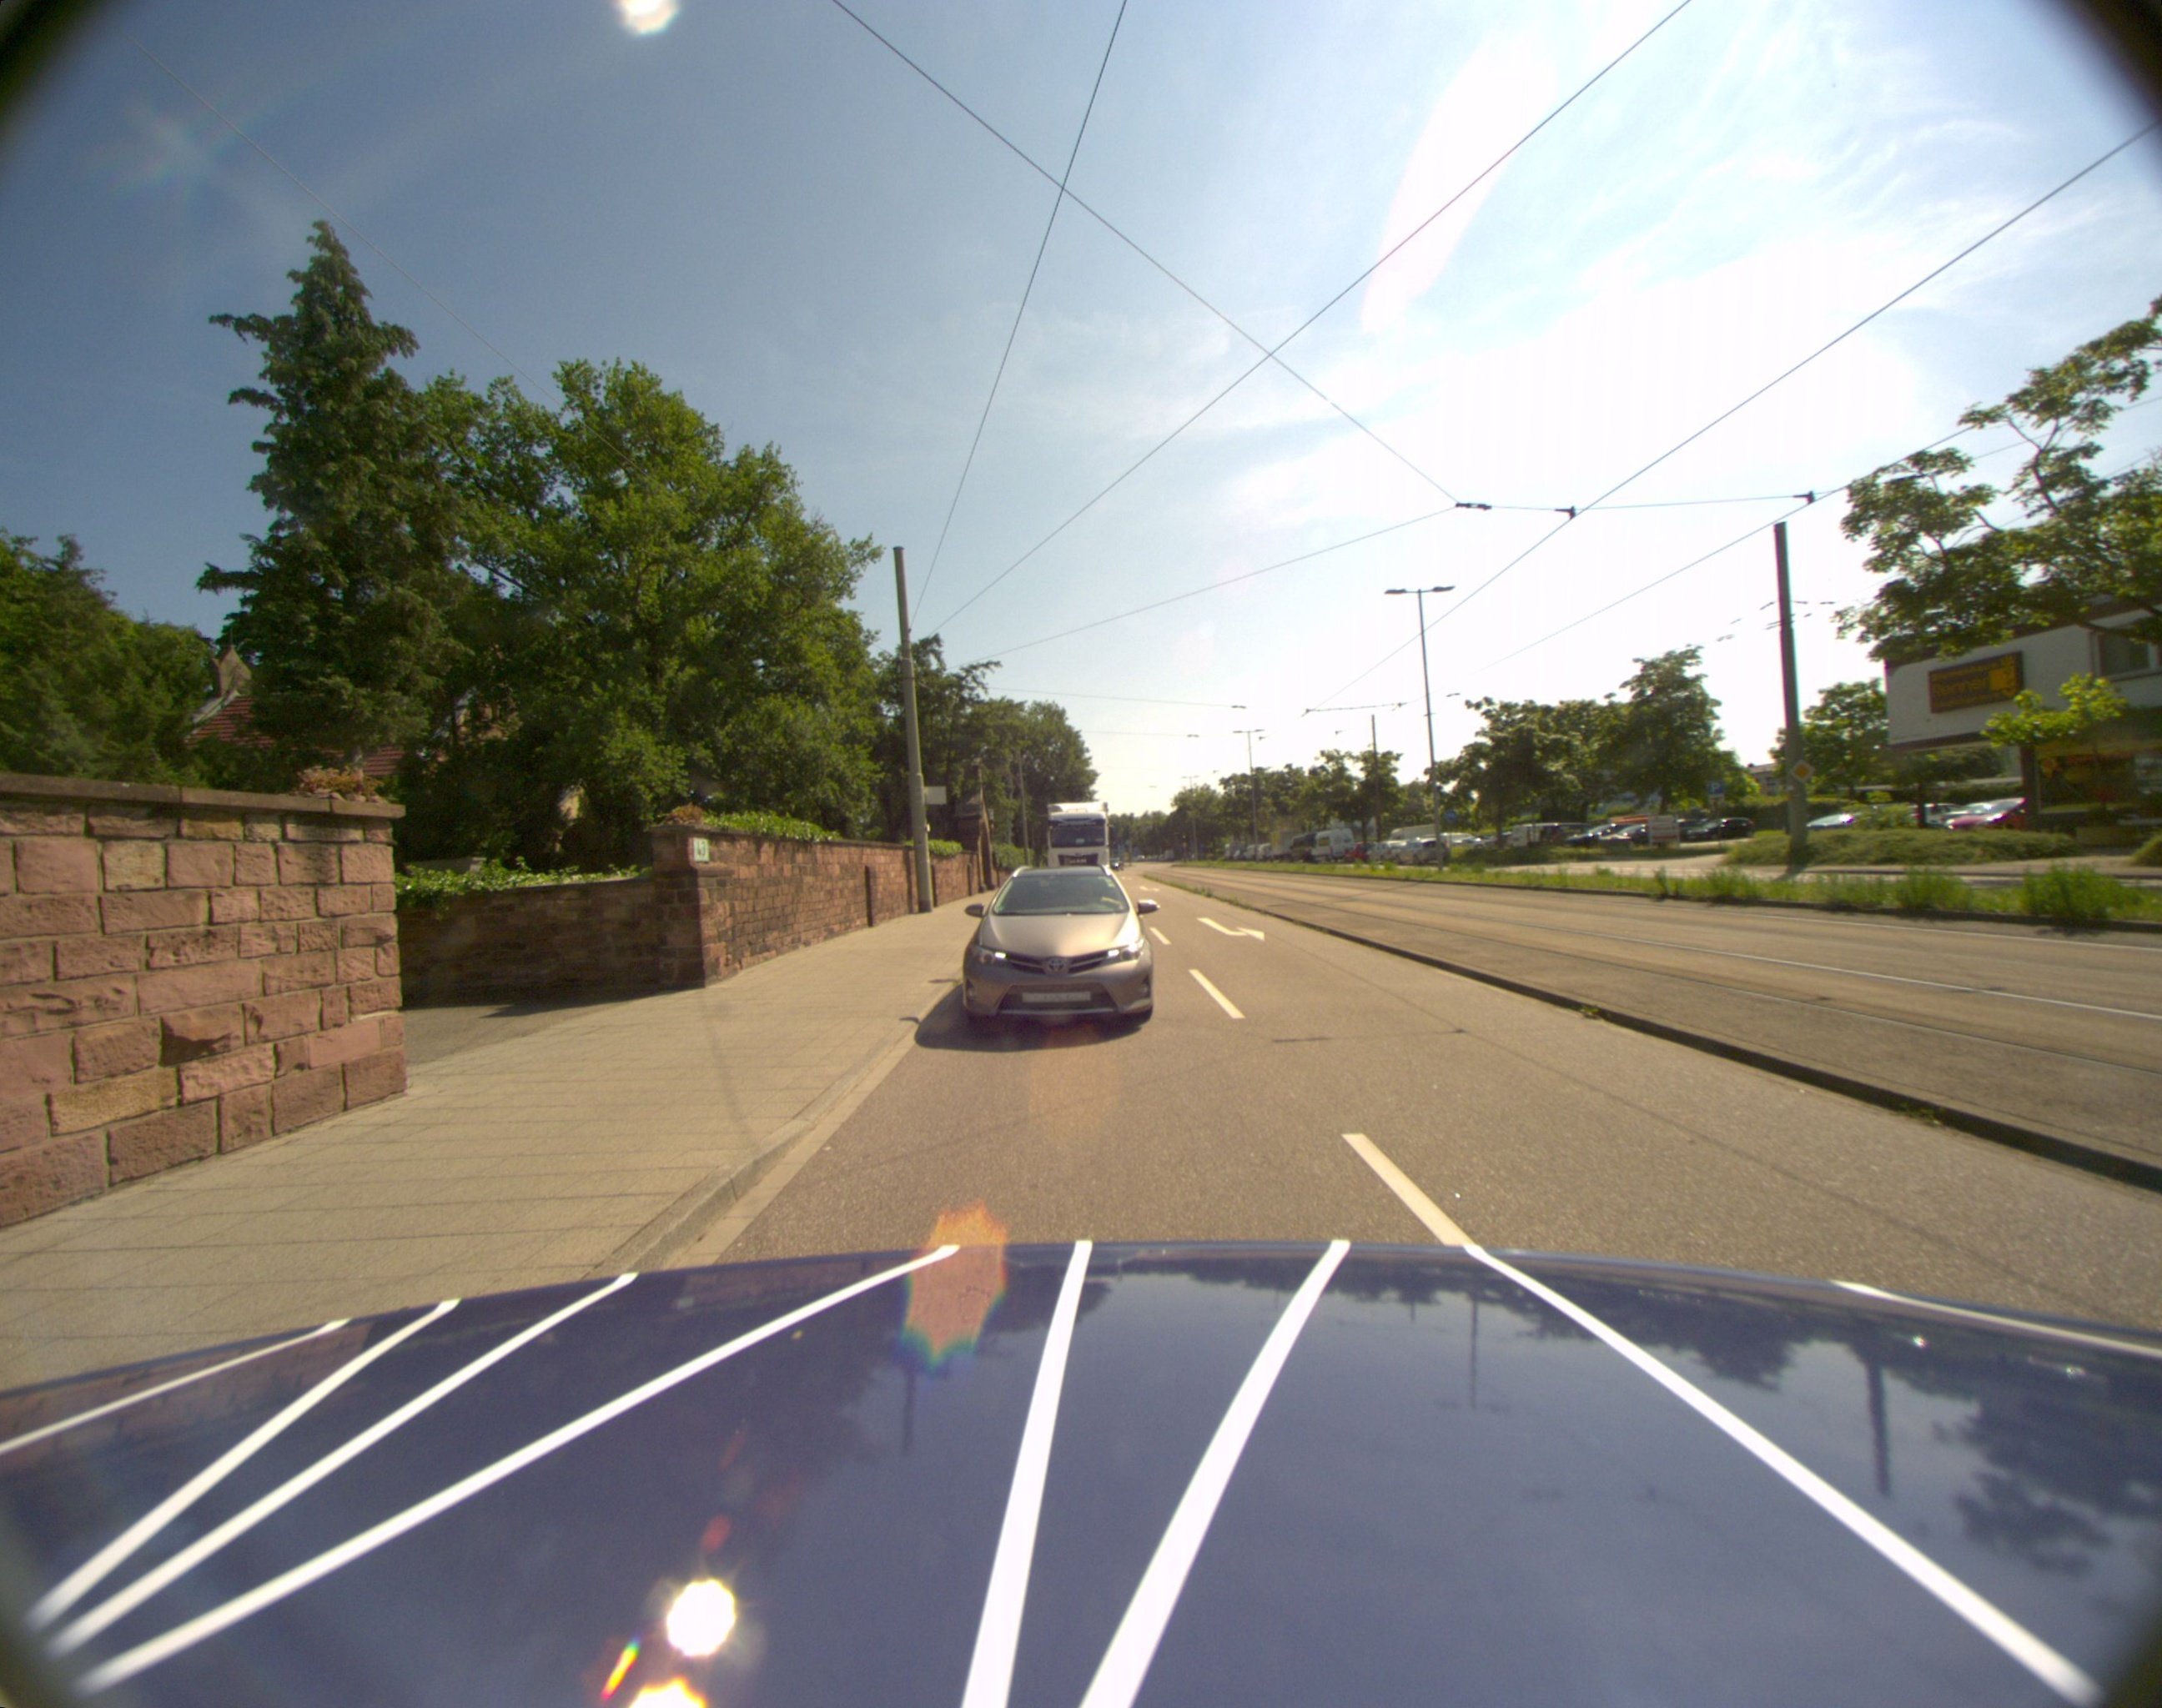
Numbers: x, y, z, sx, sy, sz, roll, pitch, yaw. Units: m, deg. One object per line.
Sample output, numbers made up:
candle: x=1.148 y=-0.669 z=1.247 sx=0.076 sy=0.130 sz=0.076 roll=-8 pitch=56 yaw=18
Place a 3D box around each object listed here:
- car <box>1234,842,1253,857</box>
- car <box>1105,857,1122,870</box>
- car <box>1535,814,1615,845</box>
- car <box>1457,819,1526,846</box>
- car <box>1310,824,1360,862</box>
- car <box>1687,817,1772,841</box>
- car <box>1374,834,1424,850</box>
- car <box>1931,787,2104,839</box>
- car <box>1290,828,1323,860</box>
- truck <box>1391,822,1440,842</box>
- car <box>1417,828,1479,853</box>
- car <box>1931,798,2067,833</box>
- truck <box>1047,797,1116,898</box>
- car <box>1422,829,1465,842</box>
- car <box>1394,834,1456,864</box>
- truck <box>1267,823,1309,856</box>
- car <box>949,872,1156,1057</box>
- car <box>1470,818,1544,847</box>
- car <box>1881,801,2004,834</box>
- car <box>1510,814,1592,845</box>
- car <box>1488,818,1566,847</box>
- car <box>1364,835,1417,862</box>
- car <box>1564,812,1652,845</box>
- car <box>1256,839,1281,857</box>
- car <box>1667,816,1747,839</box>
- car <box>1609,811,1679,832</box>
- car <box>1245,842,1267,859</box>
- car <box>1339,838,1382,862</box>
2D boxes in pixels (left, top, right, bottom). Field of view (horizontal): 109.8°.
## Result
car: x=20.703 y=-0.561 z=97.071 sx=1.502 sy=1.775 sz=3.687 roll=-7 pitch=0 yaw=0
car: x=3.520 y=1.044 z=83.153 sx=1.654 sy=1.374 sz=4.000 roll=-2 pitch=0 yaw=1
car: x=30.591 y=-1.524 z=47.124 sx=3.810 sy=1.625 sz=1.676 roll=-4 pitch=0 yaw=2
car: x=31.258 y=-1.618 z=57.964 sx=4.117 sy=1.727 sz=1.990 roll=-4 pitch=0 yaw=-2
car: x=20.249 y=-0.841 z=60.844 sx=2.062 sy=2.638 sz=5.203 roll=-7 pitch=0 yaw=1
car: x=44.043 y=-1.677 z=51.656 sx=4.252 sy=1.327 sz=1.676 roll=-4 pitch=0 yaw=2
car: x=32.369 y=-1.231 z=77.382 sx=4.253 sy=1.327 sz=1.676 roll=-4 pitch=0 yaw=1
car: x=35.216 y=-1.516 z=28.662 sx=4.252 sy=1.595 sz=1.676 roll=-4 pitch=0 yaw=2
car: x=19.905 y=-0.853 z=67.076 sx=1.502 sy=2.609 sz=4.007 roll=-7 pitch=0 yaw=1
truck: x=44.915 y=-2.944 z=102.175 sx=5.652 sy=2.367 sz=1.990 roll=-4 pitch=0 yaw=-2
car: x=31.207 y=-1.107 z=64.865 sx=2.594 sy=1.800 sz=5.741 roll=-4 pitch=0 yaw=2
car: x=43.796 y=-1.824 z=36.315 sx=4.252 sy=1.327 sz=1.676 roll=-4 pitch=0 yaw=2
truck: x=0.113 y=-0.290 z=34.802 sx=2.628 sy=3.905 sz=9.286 roll=-2 pitch=0 yaw=1
car: x=43.798 y=-2.222 z=91.864 sx=4.253 sy=1.327 sz=1.676 roll=-4 pitch=0 yaw=1
car: x=20.274 y=-0.298 z=44.981 sx=1.675 sy=1.524 sz=4.257 roll=-7 pitch=0 yaw=1
truck: x=20.458 y=-1.380 z=75.429 sx=2.508 sy=2.917 sz=5.903 roll=-7 pitch=0 yaw=2
car: x=-0.217 y=0.957 z=8.258 sx=1.654 sy=1.374 sz=4.000 roll=-2 pitch=0 yaw=1
car: x=30.611 y=-1.524 z=54.633 sx=4.117 sy=1.727 sz=1.990 roll=-4 pitch=0 yaw=-2
car: x=44.339 y=-1.849 z=39.187 sx=4.252 sy=1.327 sz=1.676 roll=-4 pitch=0 yaw=2
car: x=30.667 y=-1.594 z=49.653 sx=4.117 sy=1.727 sz=1.990 roll=-4 pitch=0 yaw=-2
car: x=30.554 y=-1.462 z=52.126 sx=4.117 sy=1.727 sz=1.990 roll=-4 pitch=0 yaw=-2
car: x=20.517 y=-0.331 z=50.507 sx=1.675 sy=1.524 sz=4.257 roll=-7 pitch=0 yaw=1
car: x=30.523 y=-1.455 z=44.101 sx=3.810 sy=1.625 sz=1.676 roll=-4 pitch=0 yaw=2
car: x=20.718 y=-0.598 z=84.286 sx=1.502 sy=1.793 sz=4.633 roll=-7 pitch=0 yaw=1
car: x=44.711 y=-1.882 z=54.328 sx=4.252 sy=1.327 sz=1.676 roll=-4 pitch=0 yaw=2
car: x=44.039 y=-2.537 z=59.492 sx=4.253 sy=1.327 sz=1.676 roll=-4 pitch=0 yaw=-1
car: x=20.969 y=-0.436 z=91.187 sx=1.502 sy=1.835 sz=4.059 roll=-7 pitch=0 yaw=0
car: x=20.448 y=-0.294 z=55.684 sx=1.675 sy=1.524 sz=3.793 roll=-7 pitch=0 yaw=1
